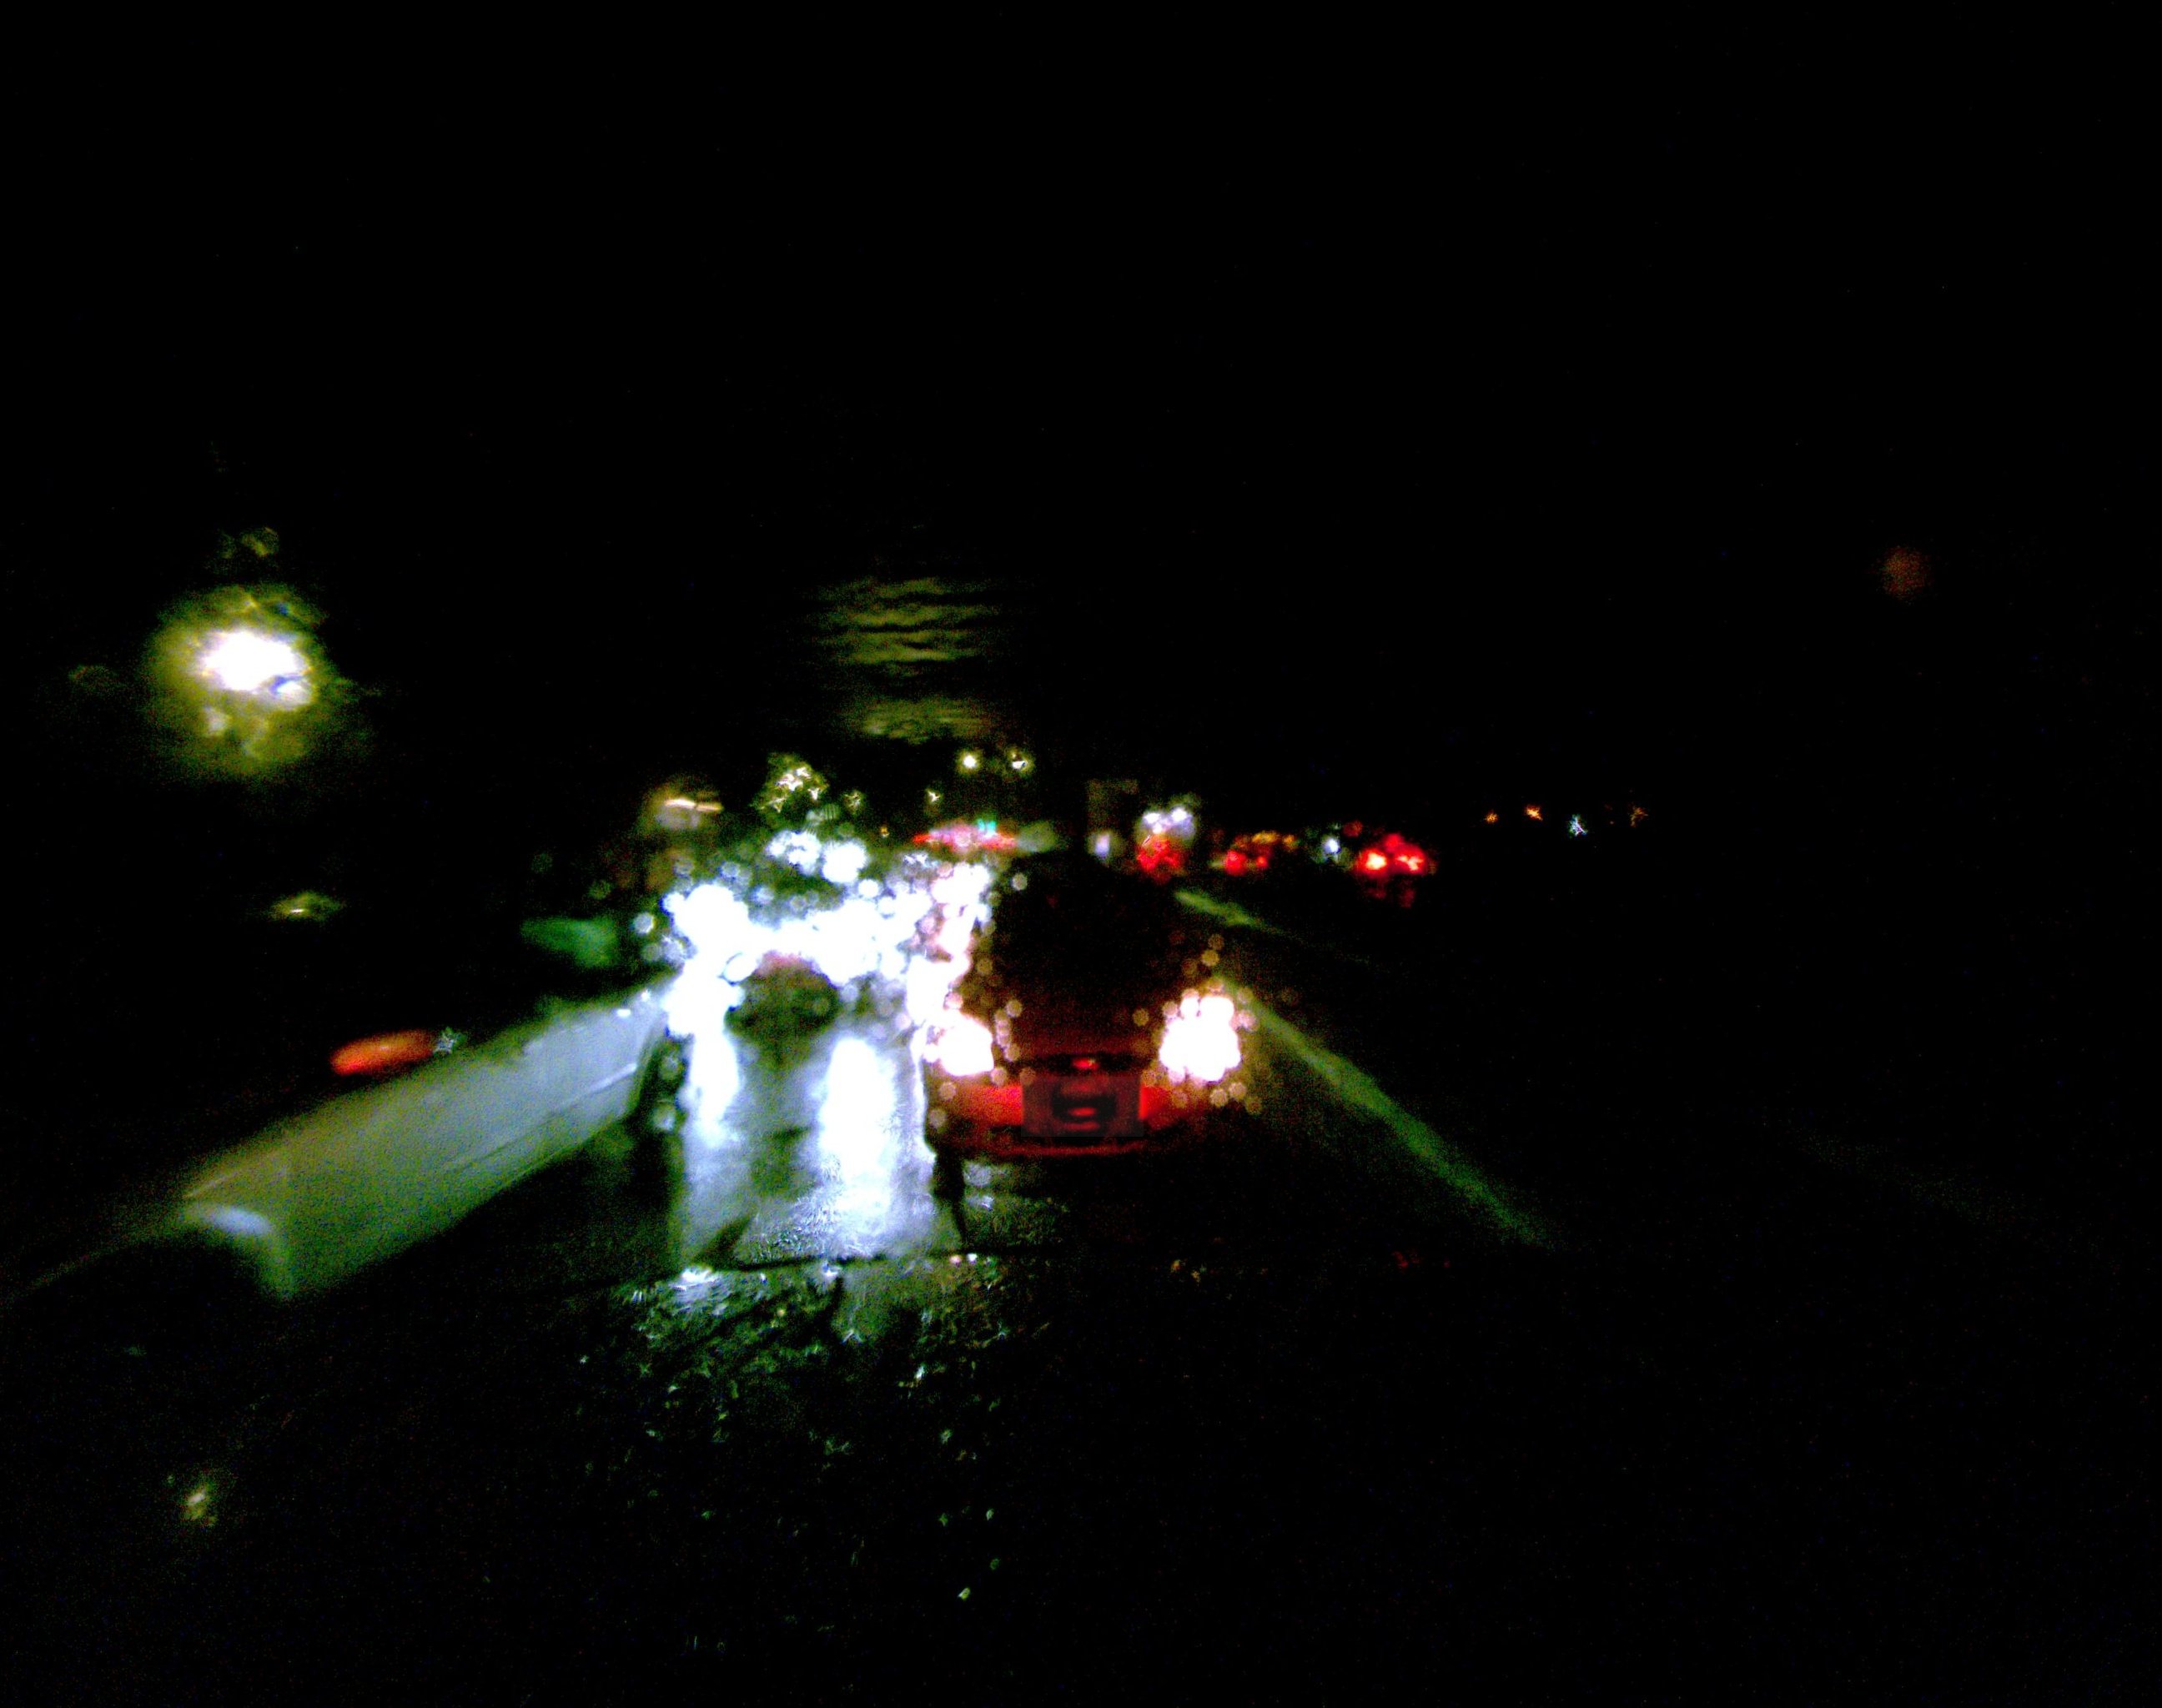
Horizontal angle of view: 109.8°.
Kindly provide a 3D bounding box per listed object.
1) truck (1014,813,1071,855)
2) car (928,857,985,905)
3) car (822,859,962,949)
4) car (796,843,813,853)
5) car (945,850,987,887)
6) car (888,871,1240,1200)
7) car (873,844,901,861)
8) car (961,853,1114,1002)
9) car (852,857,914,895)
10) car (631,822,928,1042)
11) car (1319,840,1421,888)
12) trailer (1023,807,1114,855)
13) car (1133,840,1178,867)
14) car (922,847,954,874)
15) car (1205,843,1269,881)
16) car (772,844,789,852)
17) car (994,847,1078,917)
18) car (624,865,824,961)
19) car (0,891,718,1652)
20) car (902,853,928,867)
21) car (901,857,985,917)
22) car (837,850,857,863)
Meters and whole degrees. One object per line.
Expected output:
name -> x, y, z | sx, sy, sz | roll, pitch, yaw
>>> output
truck -> -4.186, -2.044, 80.727 | 3.973, 4.152, 6.365 | -3, 1, -22
car -> -4.390, 0.895, 27.230 | 1.683, 1.463, 3.998 | -2, 1, -5
car -> -3.747, 0.934, 15.770 | 1.869, 1.503, 3.766 | -2, 1, 1
car -> -43.584, -0.908, 119.765 | 1.885, 1.463, 3.991 | -3, 1, -28
car -> -5.396, 0.650, 36.076 | 1.743, 1.581, 3.997 | -2, 1, -6
car -> -0.052, 0.900, 5.538 | 1.603, 1.360, 3.942 | -2, 1, 1
car -> -17.477, -0.143, 68.249 | 1.856, 1.423, 4.493 | -3, 2, -21
car -> -0.473, 0.842, 10.648 | 1.683, 1.591, 3.996 | -2, 1, 1
car -> -8.403, 0.886, 32.623 | 1.854, 1.476, 4.627 | -1, 0, -6
car -> -3.375, 0.739, 9.608 | 1.999, 2.076, 4.347 | -2, 1, -1
car -> 11.597, 0.374, 30.829 | 1.860, 1.739, 4.502 | -2, 1, -9
trailer -> -1.565, -2.073, 74.278 | 3.973, 4.152, 13.894 | -3, 1, -22
car -> 5.105, -0.041, 52.721 | 1.971, 1.731, 4.914 | -2, 1, -8
car -> -11.524, 0.521, 61.156 | 2.001, 2.002, 3.994 | -3, 1, -17
car -> 7.816, 0.356, 38.542 | 1.909, 1.731, 4.395 | -2, 1, -6
car -> -54.519, -1.074, 137.879 | 1.885, 1.463, 3.990 | -3, 1, -36
car -> -1.118, 0.637, 19.733 | 1.881, 1.534, 3.999 | -2, 1, -2
car -> -6.937, 1.057, 15.433 | 1.842, 1.469, 4.628 | -2, 1, 0
car -> -3.191, 0.998, 2.709 | 1.792, 1.359, 3.999 | -2, 2, 0
car -> -18.716, 0.687, 85.591 | 1.856, 1.476, 4.476 | -1, 0, -26
car -> -3.928, 0.888, 22.202 | 1.629, 1.494, 3.999 | -2, 1, 1
car -> -27.176, 0.304, 88.089 | 1.884, 1.463, 3.993 | -3, 1, -21
